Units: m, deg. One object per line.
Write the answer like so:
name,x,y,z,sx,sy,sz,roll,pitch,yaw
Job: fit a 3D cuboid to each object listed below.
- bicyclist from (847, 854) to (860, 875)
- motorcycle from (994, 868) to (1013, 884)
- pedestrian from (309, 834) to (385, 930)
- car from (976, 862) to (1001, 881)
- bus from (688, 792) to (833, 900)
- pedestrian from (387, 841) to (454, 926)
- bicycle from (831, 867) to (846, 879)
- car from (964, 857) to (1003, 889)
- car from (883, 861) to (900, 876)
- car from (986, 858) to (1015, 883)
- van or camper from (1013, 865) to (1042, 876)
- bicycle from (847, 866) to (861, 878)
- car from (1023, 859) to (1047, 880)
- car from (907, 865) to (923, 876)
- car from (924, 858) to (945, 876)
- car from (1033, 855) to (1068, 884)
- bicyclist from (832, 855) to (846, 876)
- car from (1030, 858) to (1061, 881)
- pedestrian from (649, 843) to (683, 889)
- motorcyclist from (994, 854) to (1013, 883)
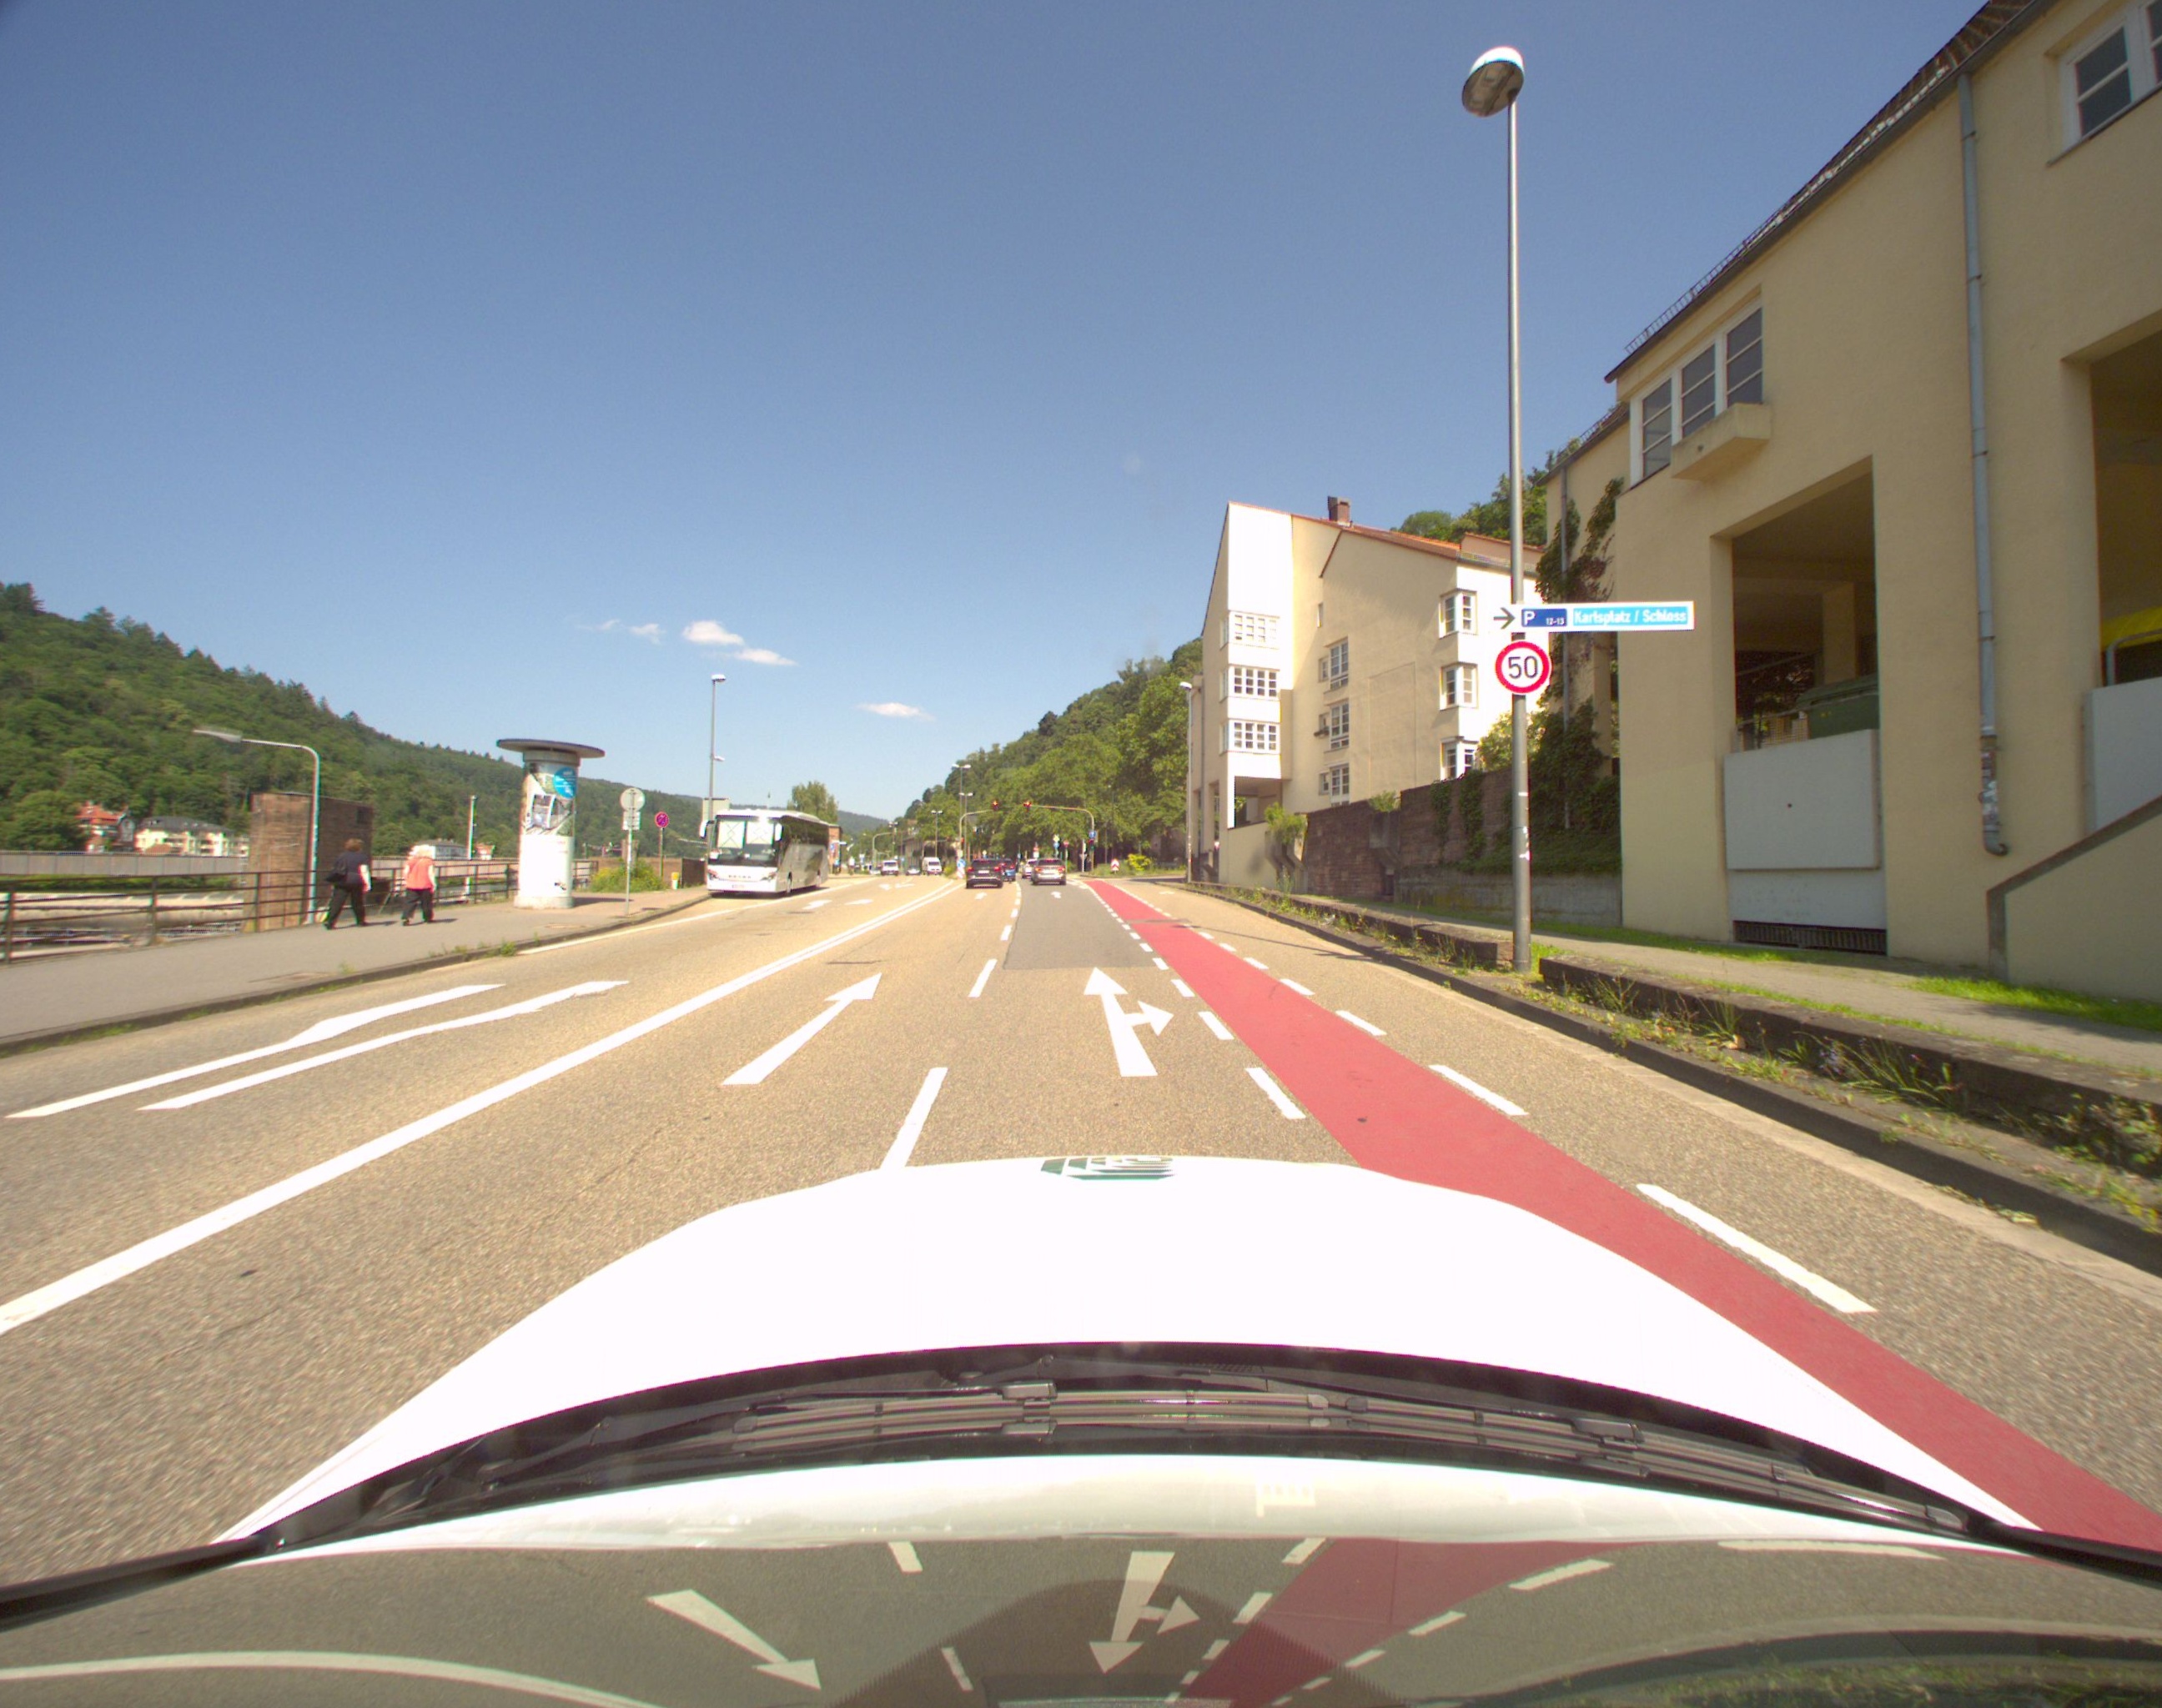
bicyclist,-22.354,1.031,79.993,1.214,2.014,1.113,-1,-1,-14
motorcycle,-4.598,1.288,48.383,1.036,0.919,2.601,0,0,-4
pedestrian,-13.454,0.500,14.952,0.682,1.709,0.771,1,-1,-8
car,-7.086,1.314,62.577,1.864,1.359,3.991,0,0,-6
bus,-13.756,-0.223,36.540,2.955,3.801,13.203,3,-1,-9
pedestrian,-12.949,0.572,15.990,0.703,1.621,0.813,1,-1,-13
bicycle,-23.243,1.798,78.119,1.214,1.090,2.585,-1,0,-14
car,-4.948,0.936,41.621,1.867,1.514,4.141,1,-1,-6
car,-26.607,1.990,114.460,2.217,2.078,5.019,0,0,-14
car,-5.413,1.088,54.981,1.864,1.562,3.991,0,0,-6
van or camper,-9.195,2.815,138.810,4.512,1.902,2.007,-1,-1,12
bicycle,-22.261,1.770,79.901,1.214,1.090,2.585,0,0,-14
car,-3.595,1.219,63.050,1.782,1.532,4.728,-1,-1,-5
car,-23.528,2.362,115.736,1.993,1.432,4.154,-1,0,-9
car,-21.513,1.908,119.321,2.388,2.576,6.022,-1,-1,-16
car,-1.783,0.885,46.235,1.884,1.521,4.300,1,-1,-3
bicyclist,-23.236,1.098,78.091,1.214,2.014,1.113,-1,-1,-14
car,-2.476,1.053,55.943,1.990,1.534,4.850,0,-1,-4
pedestrian,-16.564,0.473,32.519,0.892,1.796,1.037,1,-1,-10
motorcyclist,-4.619,0.845,48.644,1.074,1.684,1.154,0,-1,-5
